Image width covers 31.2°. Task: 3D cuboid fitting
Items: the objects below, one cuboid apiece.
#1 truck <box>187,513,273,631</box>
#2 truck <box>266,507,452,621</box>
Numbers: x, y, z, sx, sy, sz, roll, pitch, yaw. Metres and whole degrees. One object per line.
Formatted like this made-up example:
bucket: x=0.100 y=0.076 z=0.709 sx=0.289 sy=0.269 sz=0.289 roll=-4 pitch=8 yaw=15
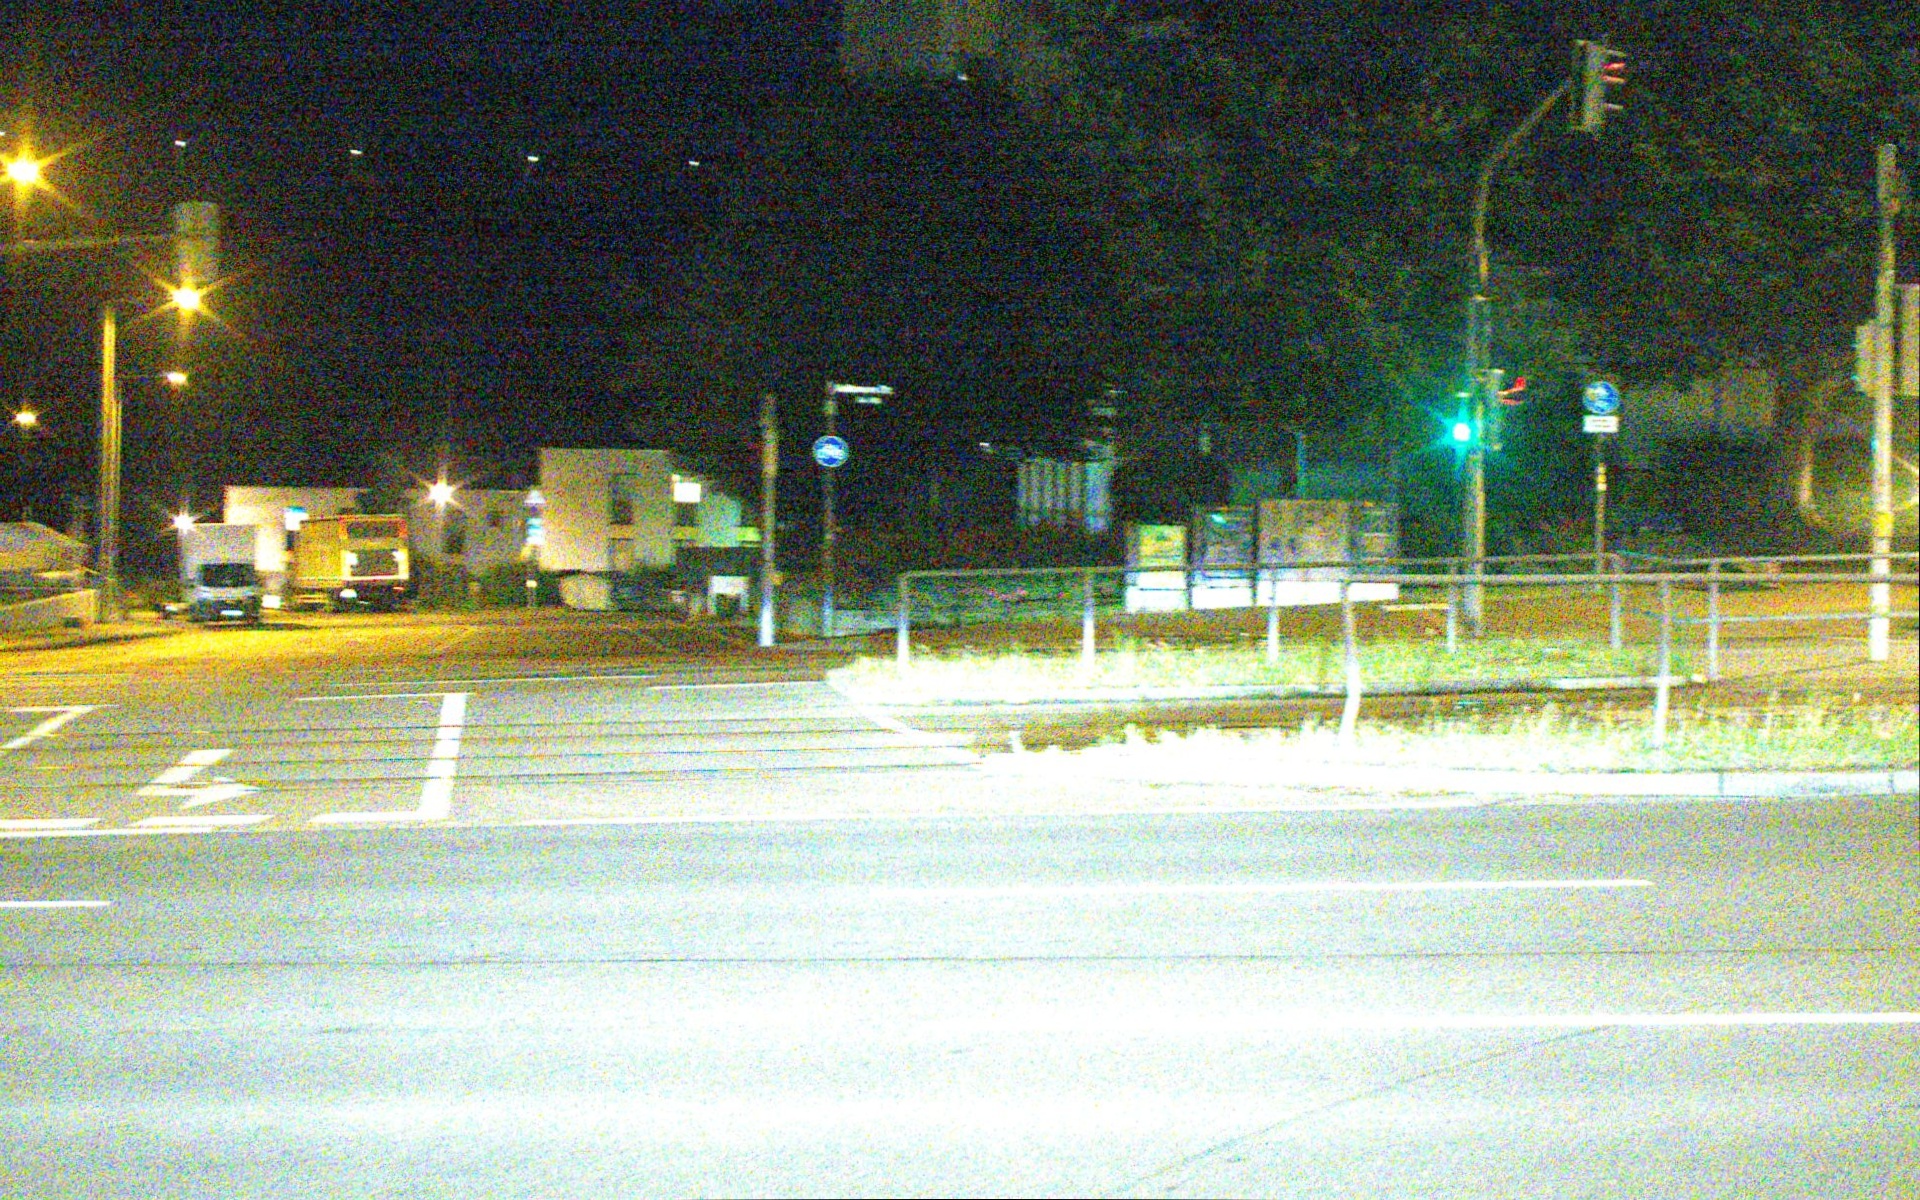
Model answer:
truck: x=-23.566 y=-0.925 z=110.816 sx=2.582 sy=3.694 sz=5.739 roll=0 pitch=1 yaw=-13
truck: x=-25.130 y=-1.533 z=142.946 sx=4.822 sy=4.531 sz=12.669 roll=0 pitch=1 yaw=-23
